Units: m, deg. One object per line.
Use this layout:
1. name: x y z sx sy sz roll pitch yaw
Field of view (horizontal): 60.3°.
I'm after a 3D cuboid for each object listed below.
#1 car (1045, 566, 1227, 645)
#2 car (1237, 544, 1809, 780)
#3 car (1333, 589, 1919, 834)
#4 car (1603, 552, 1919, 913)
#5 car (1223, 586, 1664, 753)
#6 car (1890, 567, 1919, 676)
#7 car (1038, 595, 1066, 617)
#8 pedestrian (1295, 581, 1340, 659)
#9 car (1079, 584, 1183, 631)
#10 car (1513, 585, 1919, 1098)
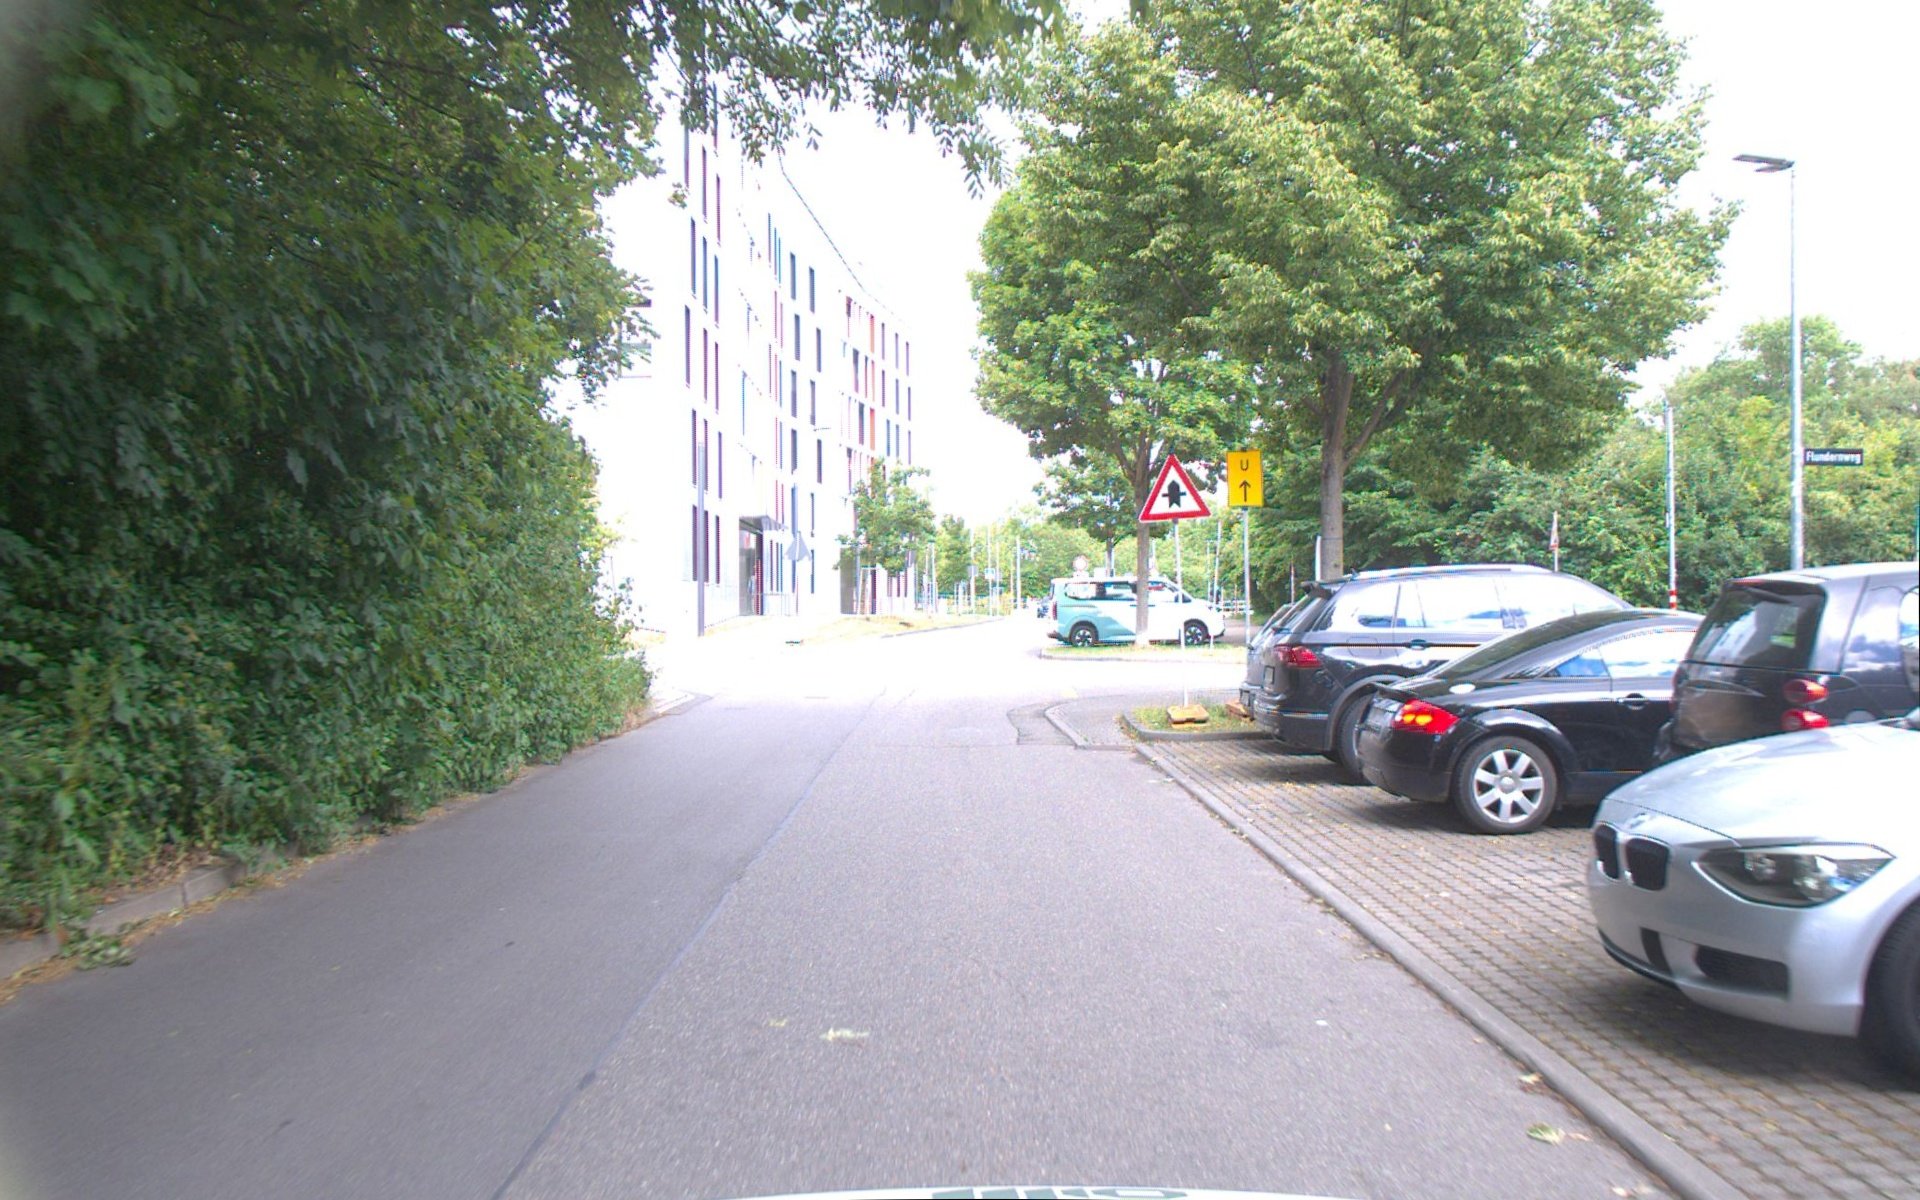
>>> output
1. car: 4.875 0.149 46.372 4.870 2.006 1.847 -2 0 1
2. car: 4.443 0.484 13.616 4.037 1.679 1.981 -2 -1 3
3. car: 4.529 0.681 10.901 3.752 1.382 1.823 -2 -1 3
4. car: 5.484 0.548 8.318 3.754 1.585 1.819 -2 -1 -1
5. car: 4.603 0.648 16.184 3.753 1.427 1.852 -2 -1 1
6. car: 16.774 0.305 25.626 3.699 1.697 1.769 -1 0 7
7. car: 6.336 0.410 113.860 1.575 1.412 4.003 1 0 7
8. pedestrian: 7.448 0.421 34.510 0.817 1.604 0.810 0 0 5
9. car: 7.192 0.299 69.700 4.286 1.937 1.938 1 0 4
10. car: 4.221 0.649 5.763 3.906 1.455 1.935 -2 -1 -1
